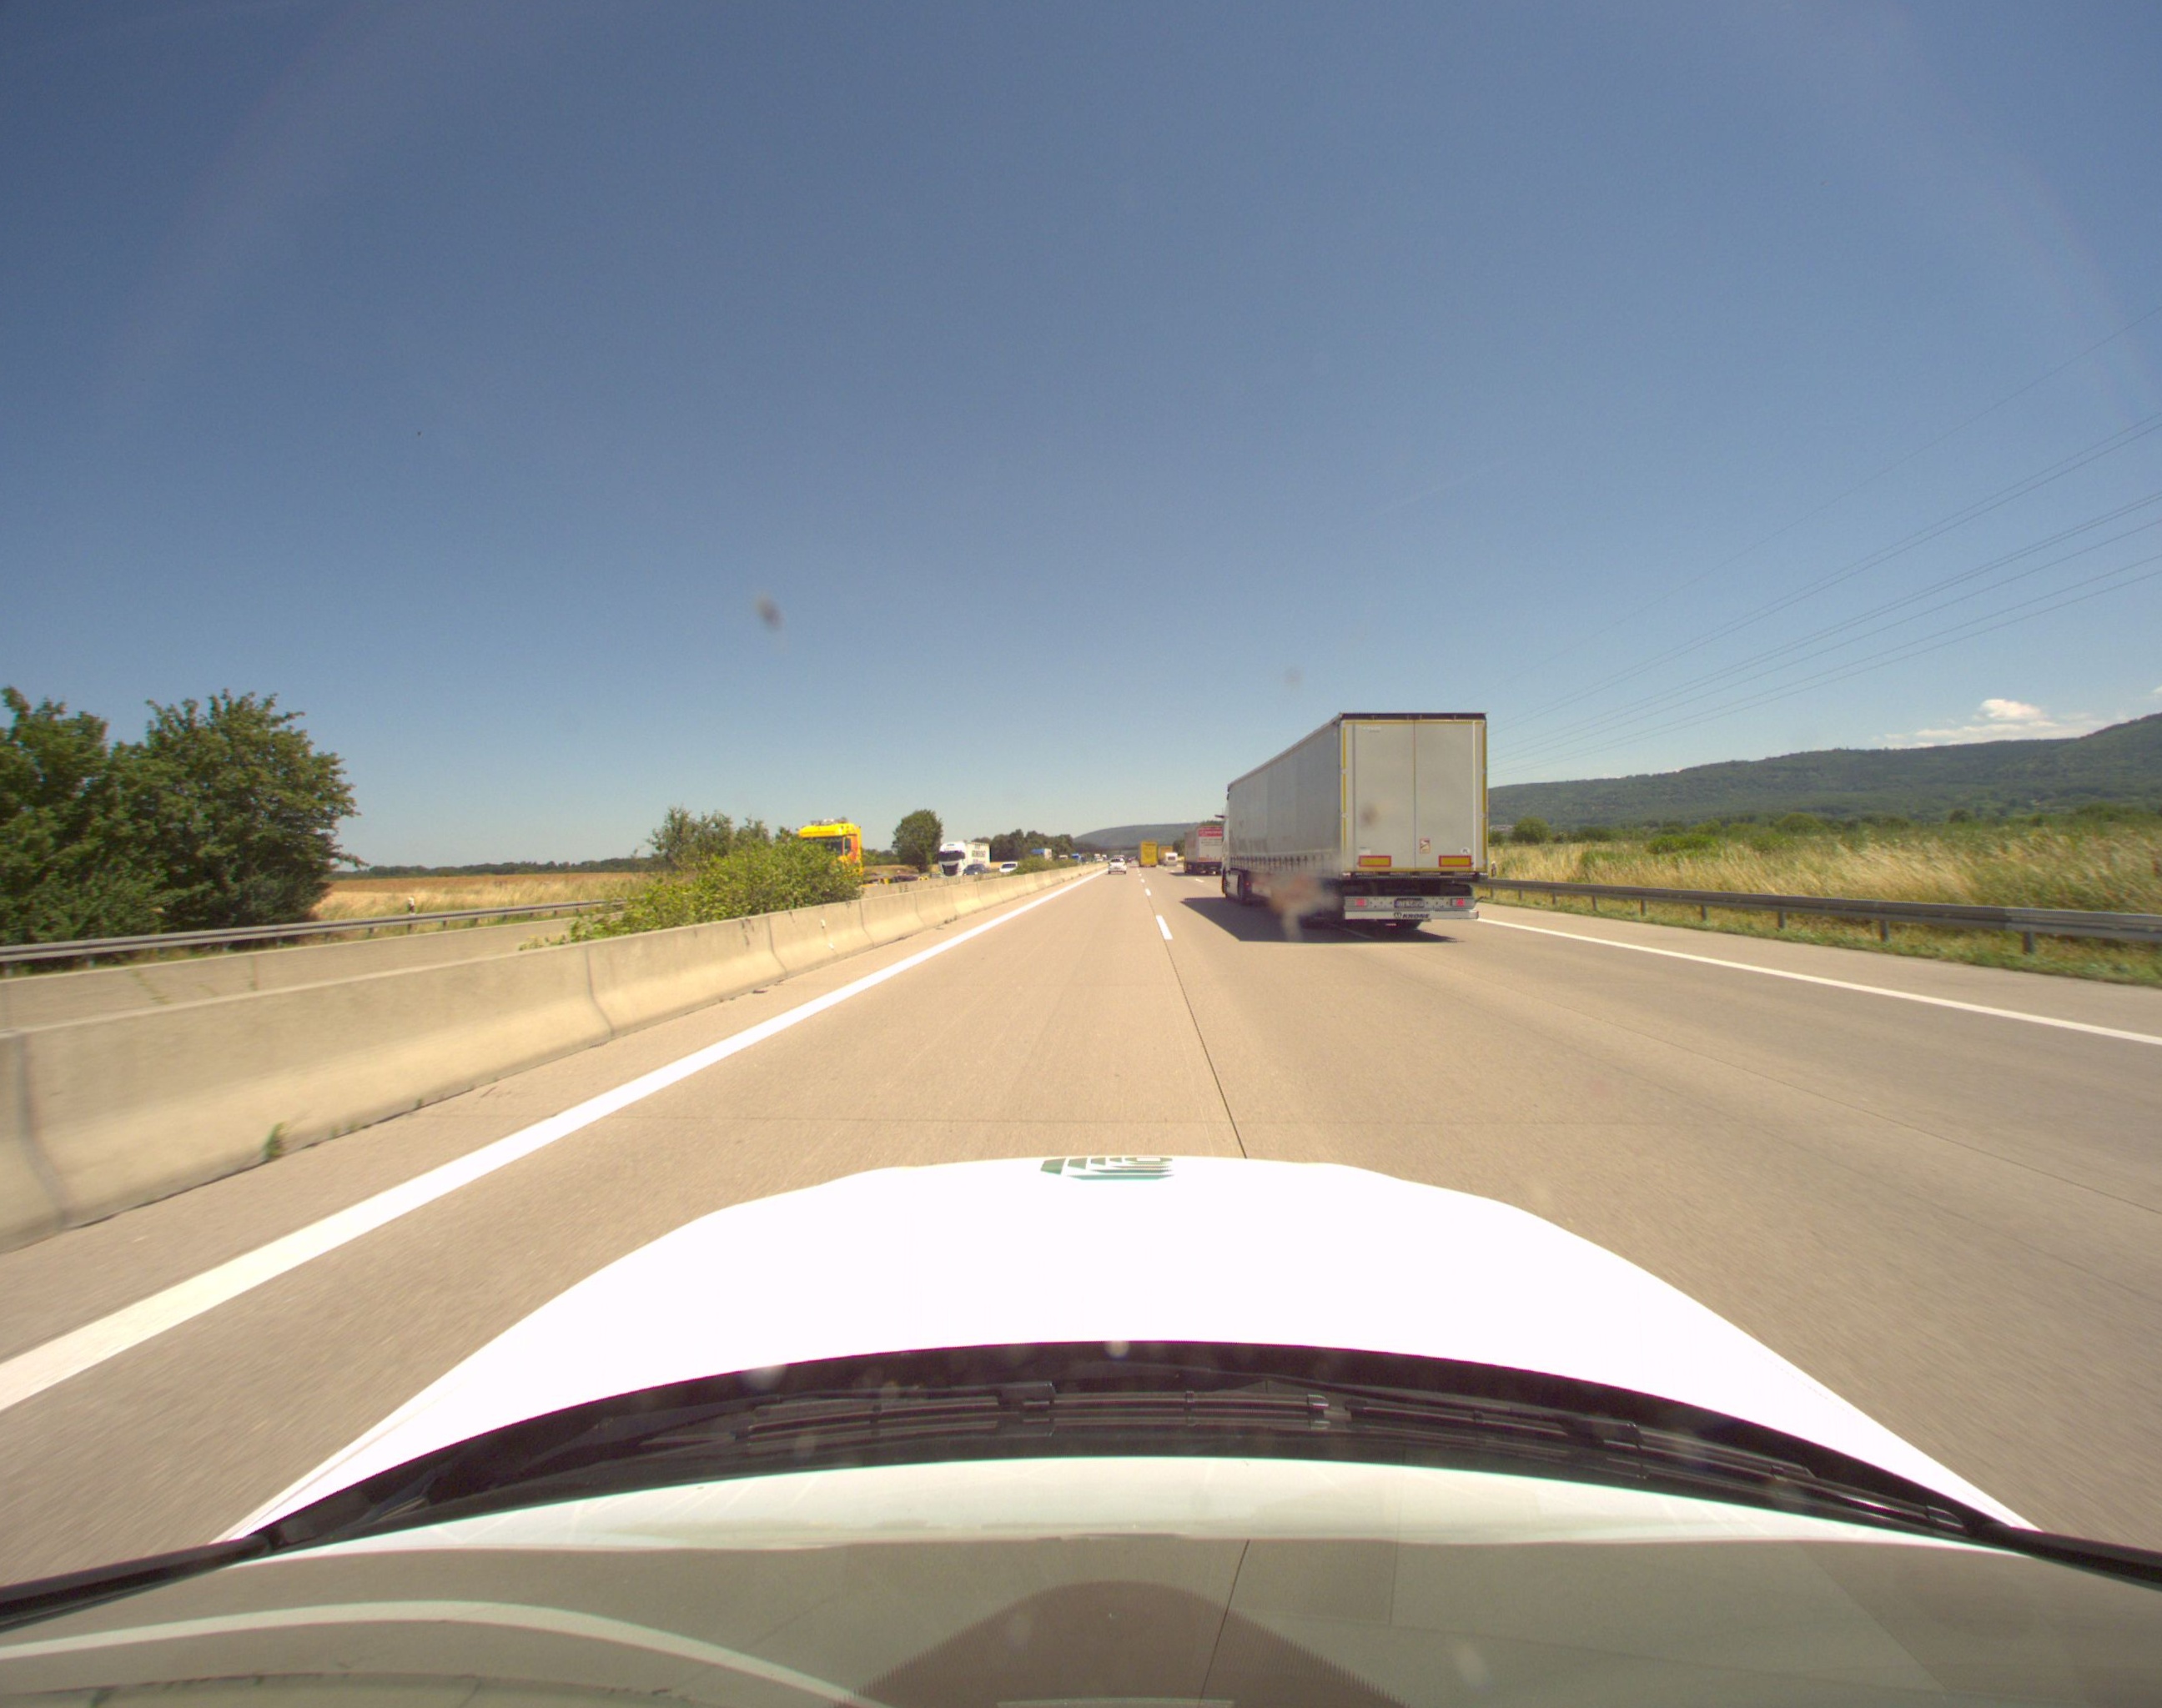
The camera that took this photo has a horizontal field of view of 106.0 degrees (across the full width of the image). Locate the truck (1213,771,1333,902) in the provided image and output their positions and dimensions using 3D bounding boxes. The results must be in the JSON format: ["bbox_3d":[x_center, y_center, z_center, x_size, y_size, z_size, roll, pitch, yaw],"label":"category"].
[{"bbox_3d":[6.423,-0.539,28.074,2.973,4.062,5.479,0,0,1],"label":"truck"}]

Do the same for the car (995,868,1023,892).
[{"bbox_3d":[-6.005,2.142,68.179,1.699,1.803,4.717,-2,0,2],"label":"car"}]

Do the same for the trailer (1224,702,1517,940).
[{"bbox_3d":[6.172,-0.553,21.004,3.006,4.061,14.213,0,0,2],"label":"trailer"}]

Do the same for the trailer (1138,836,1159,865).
[{"bbox_3d":[10.888,-0.502,132.588,3.202,4.563,13.470,0,0,4],"label":"trailer"}]

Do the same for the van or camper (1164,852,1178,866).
[{"bbox_3d":[16.008,0.888,144.679,2.215,2.531,5.435,0,0,3],"label":"van or camper"}]

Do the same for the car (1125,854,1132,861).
[{"bbox_3d":[13.753,1.033,235.904,1.776,1.881,4.004,0,0,4],"label":"car"}]

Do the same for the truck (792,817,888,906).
[{"bbox_3d":[-11.790,0.356,40.412,2.731,4.080,5.547,0,0,4],"label":"truck"}]

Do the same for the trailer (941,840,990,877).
[{"bbox_3d":[-12.840,0.469,91.739,2.758,3.802,13.840,0,0,3],"label":"trailer"}]

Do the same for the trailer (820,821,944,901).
[{"bbox_3d":[-11.229,0.375,48.174,2.764,4.039,14.628,0,0,4],"label":"trailer"}]

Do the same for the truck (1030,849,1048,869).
[{"bbox_3d":[-8.111,0.996,156.693,2.885,3.864,5.689,0,0,3],"label":"truck"}]

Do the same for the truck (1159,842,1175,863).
[{"bbox_3d":[18.302,-0.262,173.606,2.986,4.314,9.693,0,0,4],"label":"truck"}]

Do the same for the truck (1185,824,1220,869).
[{"bbox_3d":[11.622,-0.681,78.326,2.892,4.101,6.279,0,0,4],"label":"truck"}]

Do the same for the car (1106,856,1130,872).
[{"bbox_3d":[3.524,0.918,77.460,2.097,1.536,4.127,0,0,5],"label":"car"}]

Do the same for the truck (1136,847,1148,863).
[{"bbox_3d":[14.472,0.192,194.218,2.808,3.761,6.289,0,0,3],"label":"truck"}]

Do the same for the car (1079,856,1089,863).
[{"bbox_3d":[0.595,1.178,177.091,1.890,1.326,5.073,0,0,3],"label":"car"}]

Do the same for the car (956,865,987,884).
[{"bbox_3d":[-10.041,1.835,74.753,1.985,1.584,4.373,-2,0,3],"label":"car"}]

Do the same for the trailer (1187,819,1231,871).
[{"bbox_3d":[11.091,-0.697,71.876,2.860,4.100,13.529,0,0,4],"label":"trailer"}]

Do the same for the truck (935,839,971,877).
[{"bbox_3d":[-13.239,0.442,84.719,2.759,3.840,4.455,0,0,3],"label":"truck"}]

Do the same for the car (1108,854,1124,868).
[{"bbox_3d":[5.298,1.008,121.764,2.244,2.013,4.303,0,0,4],"label":"car"}]
